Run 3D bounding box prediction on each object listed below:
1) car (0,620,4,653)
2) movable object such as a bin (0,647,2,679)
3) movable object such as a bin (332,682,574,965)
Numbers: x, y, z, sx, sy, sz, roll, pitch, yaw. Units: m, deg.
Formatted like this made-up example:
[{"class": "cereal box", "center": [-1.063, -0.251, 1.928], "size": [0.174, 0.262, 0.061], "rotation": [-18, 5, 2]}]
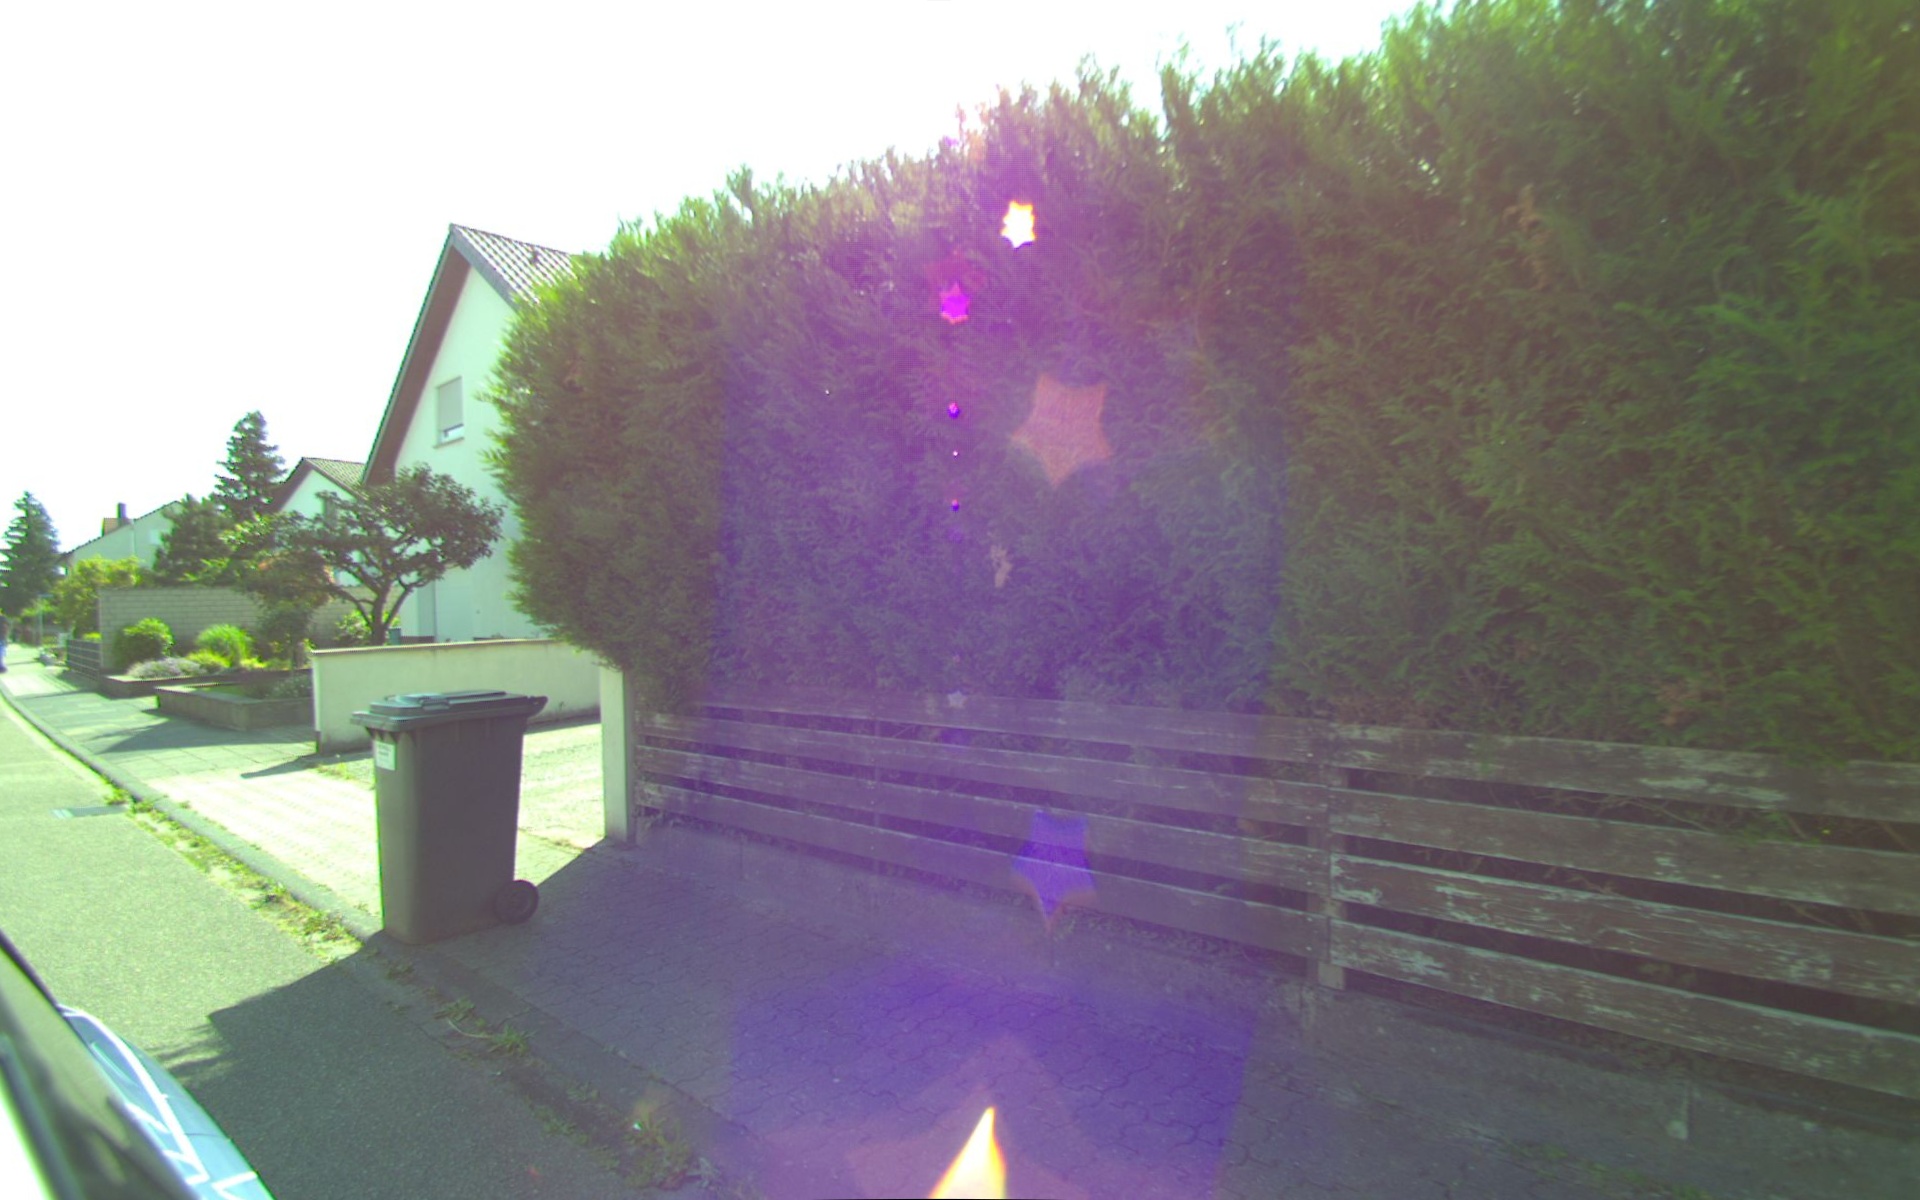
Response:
[{"class": "car", "center": [-58.519, 2.208, 60.451], "size": [4.206, 1.953, 1.844], "rotation": [-2, 0, 45]}, {"class": "movable object such as a bin", "center": [-28.267, 1.850, 29.419], "size": [0.598, 0.923, 0.576], "rotation": [-2, 1, 44]}, {"class": "movable object such as a bin", "center": [-2.303, 0.949, 4.621], "size": [0.611, 1.071, 0.809], "rotation": [-2, -1, 42]}]
